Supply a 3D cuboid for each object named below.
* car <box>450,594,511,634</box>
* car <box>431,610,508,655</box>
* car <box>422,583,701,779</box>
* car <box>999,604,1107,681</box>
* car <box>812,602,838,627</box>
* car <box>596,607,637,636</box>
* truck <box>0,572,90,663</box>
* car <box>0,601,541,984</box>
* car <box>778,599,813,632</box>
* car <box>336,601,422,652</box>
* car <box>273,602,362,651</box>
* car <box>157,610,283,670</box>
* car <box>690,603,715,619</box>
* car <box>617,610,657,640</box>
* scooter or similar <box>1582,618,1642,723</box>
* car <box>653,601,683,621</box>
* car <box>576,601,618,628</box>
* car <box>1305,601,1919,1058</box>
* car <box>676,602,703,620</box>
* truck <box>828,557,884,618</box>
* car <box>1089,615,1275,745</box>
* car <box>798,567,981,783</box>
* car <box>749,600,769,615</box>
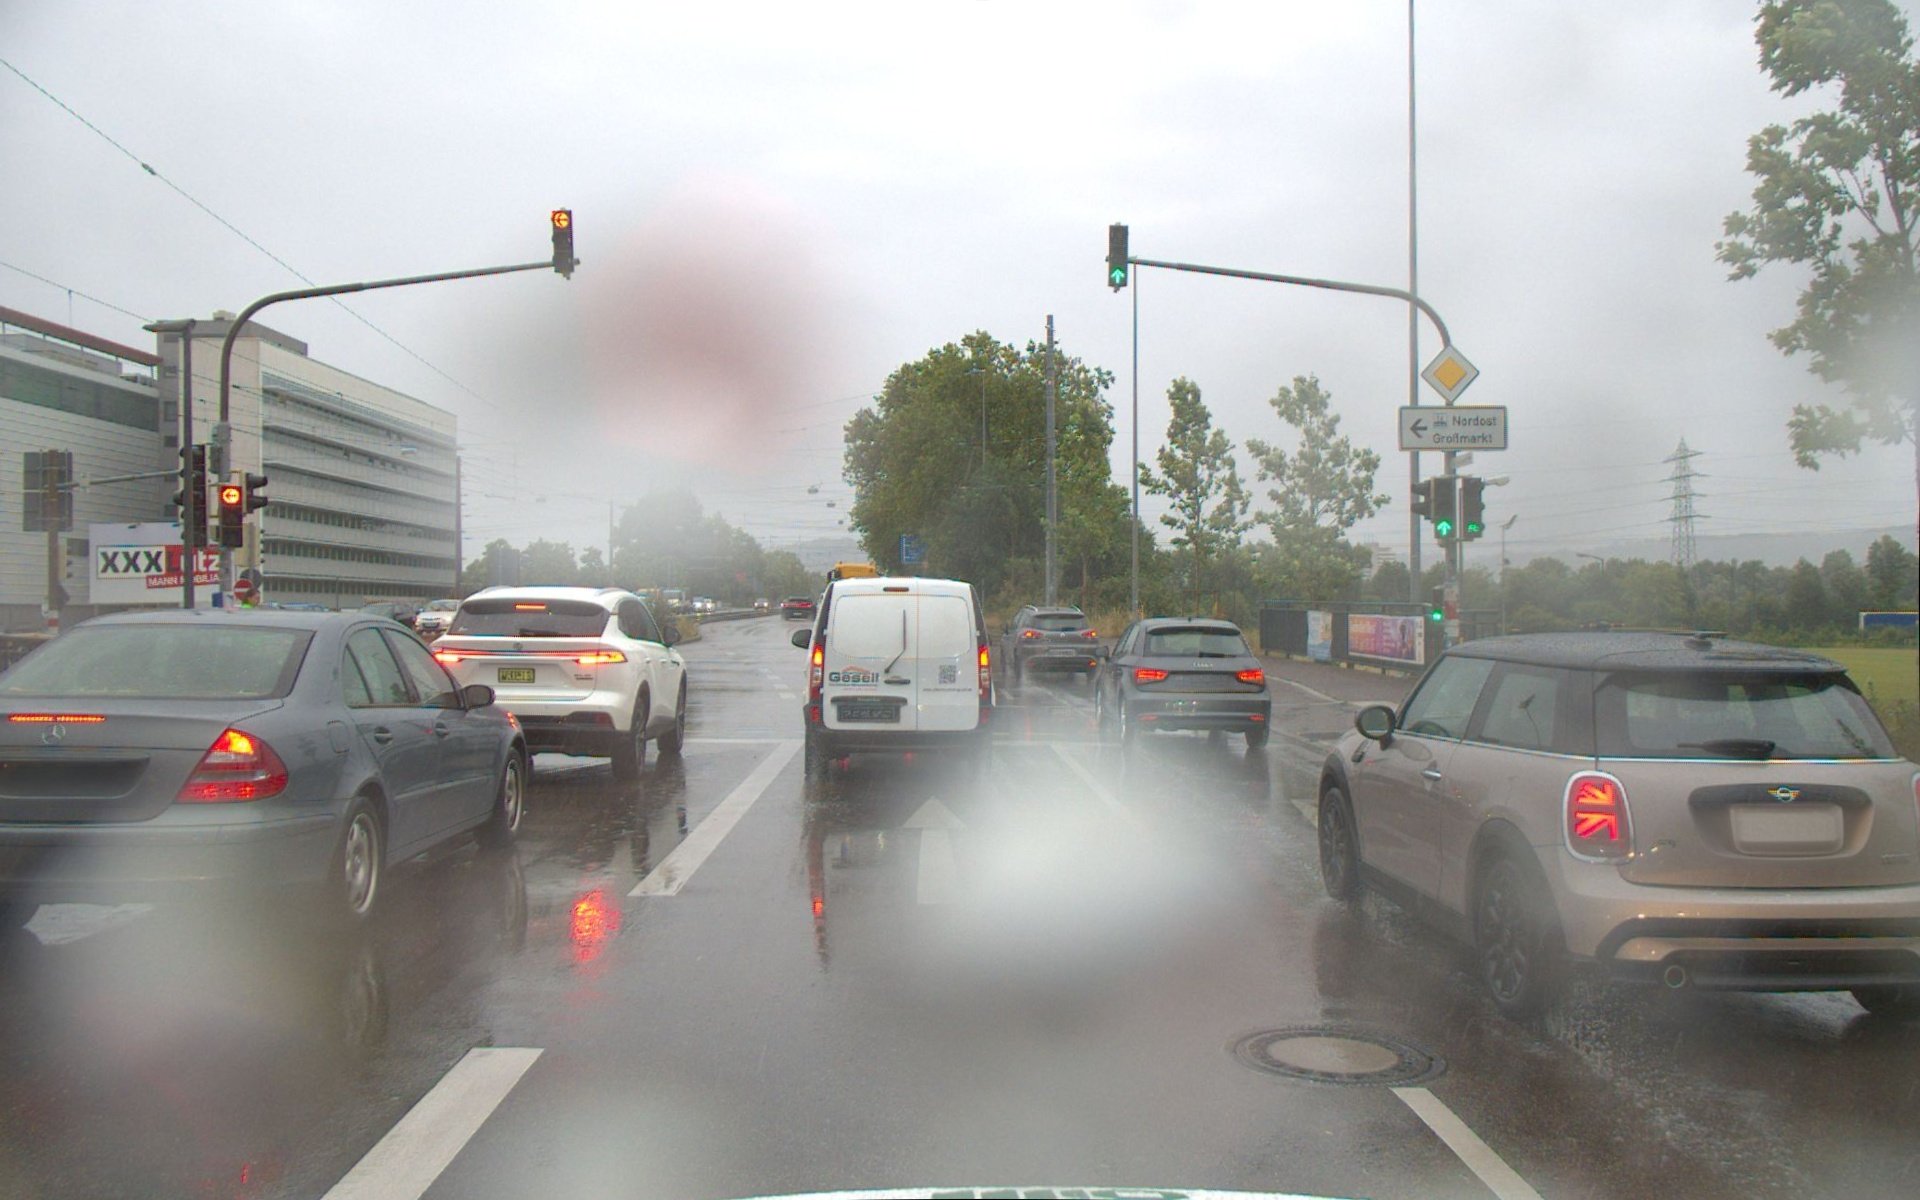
[{"bbox_3d":[-25.505,0.756,88.082,1.952,2.049,4.001,1,-1,2],"label":"car"},{"bbox_3d":[-21.083,1.400,71.237,1.889,1.859,4.002,1,-1,4],"label":"car"},{"bbox_3d":[-3.572,0.657,15.600,1.694,1.562,4.296,1,0,-2],"label":"car"},{"bbox_3d":[1.862,0.837,34.240,1.822,1.453,3.805,1,0,-3],"label":"car"},{"bbox_3d":[-10.686,1.127,130.772,1.955,1.892,3.996,1,-1,-5],"label":"car"},{"bbox_3d":[-22.549,1.423,108.695,1.786,1.839,3.769,1,-1,1],"label":"car"},{"bbox_3d":[-25.639,0.424,42.472,2.303,2.319,7.634,1,-1,2],"label":"truck"},{"bbox_3d":[-3.596,0.764,8.525,1.726,1.423,4.643,1,-1,-1],"label":"car"},{"bbox_3d":[-9.742,0.926,97.782,1.956,1.892,3.993,1,-1,-7],"label":"car"},{"bbox_3d":[-22.114,1.036,63.082,1.808,1.829,3.999,0,-2,0],"label":"car"},{"bbox_3d":[-24.738,1.052,63.828,1.693,1.690,3.538,1,-3,6],"label":"car"},{"bbox_3d":[-22.697,1.211,50.886,1.853,1.729,4.001,1,-1,3],"label":"car"},{"bbox_3d":[-26.871,1.128,172.818,1.952,1.614,4.000,1,-1,1],"label":"car"},{"bbox_3d":[-22.601,1.732,115.805,1.952,2.049,4.000,1,-1,1],"label":"car"},{"bbox_3d":[7.614,0.808,19.344,0.240,1.178,1.186,1,-1,1],"label":"scooter or similar"},{"bbox_3d":[-26.548,1.009,150.604,1.952,1.692,4.000,1,-1,1],"label":"car"},{"bbox_3d":[-22.207,0.919,101.259,1.727,1.577,3.680,1,-1,1],"label":"car"},{"bbox_3d":[2.825,0.797,7.439,1.679,1.534,3.622,1,0,-2],"label":"car"},{"bbox_3d":[-27.055,1.106,165.228,1.952,1.738,4.000,1,-1,1],"label":"car"},{"bbox_3d":[-5.129,-0.553,81.854,2.580,2.866,7.139,1,-1,-4],"label":"truck"},{"bbox_3d":[2.523,0.880,19.559,1.596,1.368,3.622,1,-1,-2],"label":"car"},{"bbox_3d":[-0.623,0.661,16.047,1.534,1.819,3.999,0,-1,-1],"label":"car"},{"bbox_3d":[-25.199,0.965,207.656,1.952,1.788,4.000,1,-1,1],"label":"car"}]
